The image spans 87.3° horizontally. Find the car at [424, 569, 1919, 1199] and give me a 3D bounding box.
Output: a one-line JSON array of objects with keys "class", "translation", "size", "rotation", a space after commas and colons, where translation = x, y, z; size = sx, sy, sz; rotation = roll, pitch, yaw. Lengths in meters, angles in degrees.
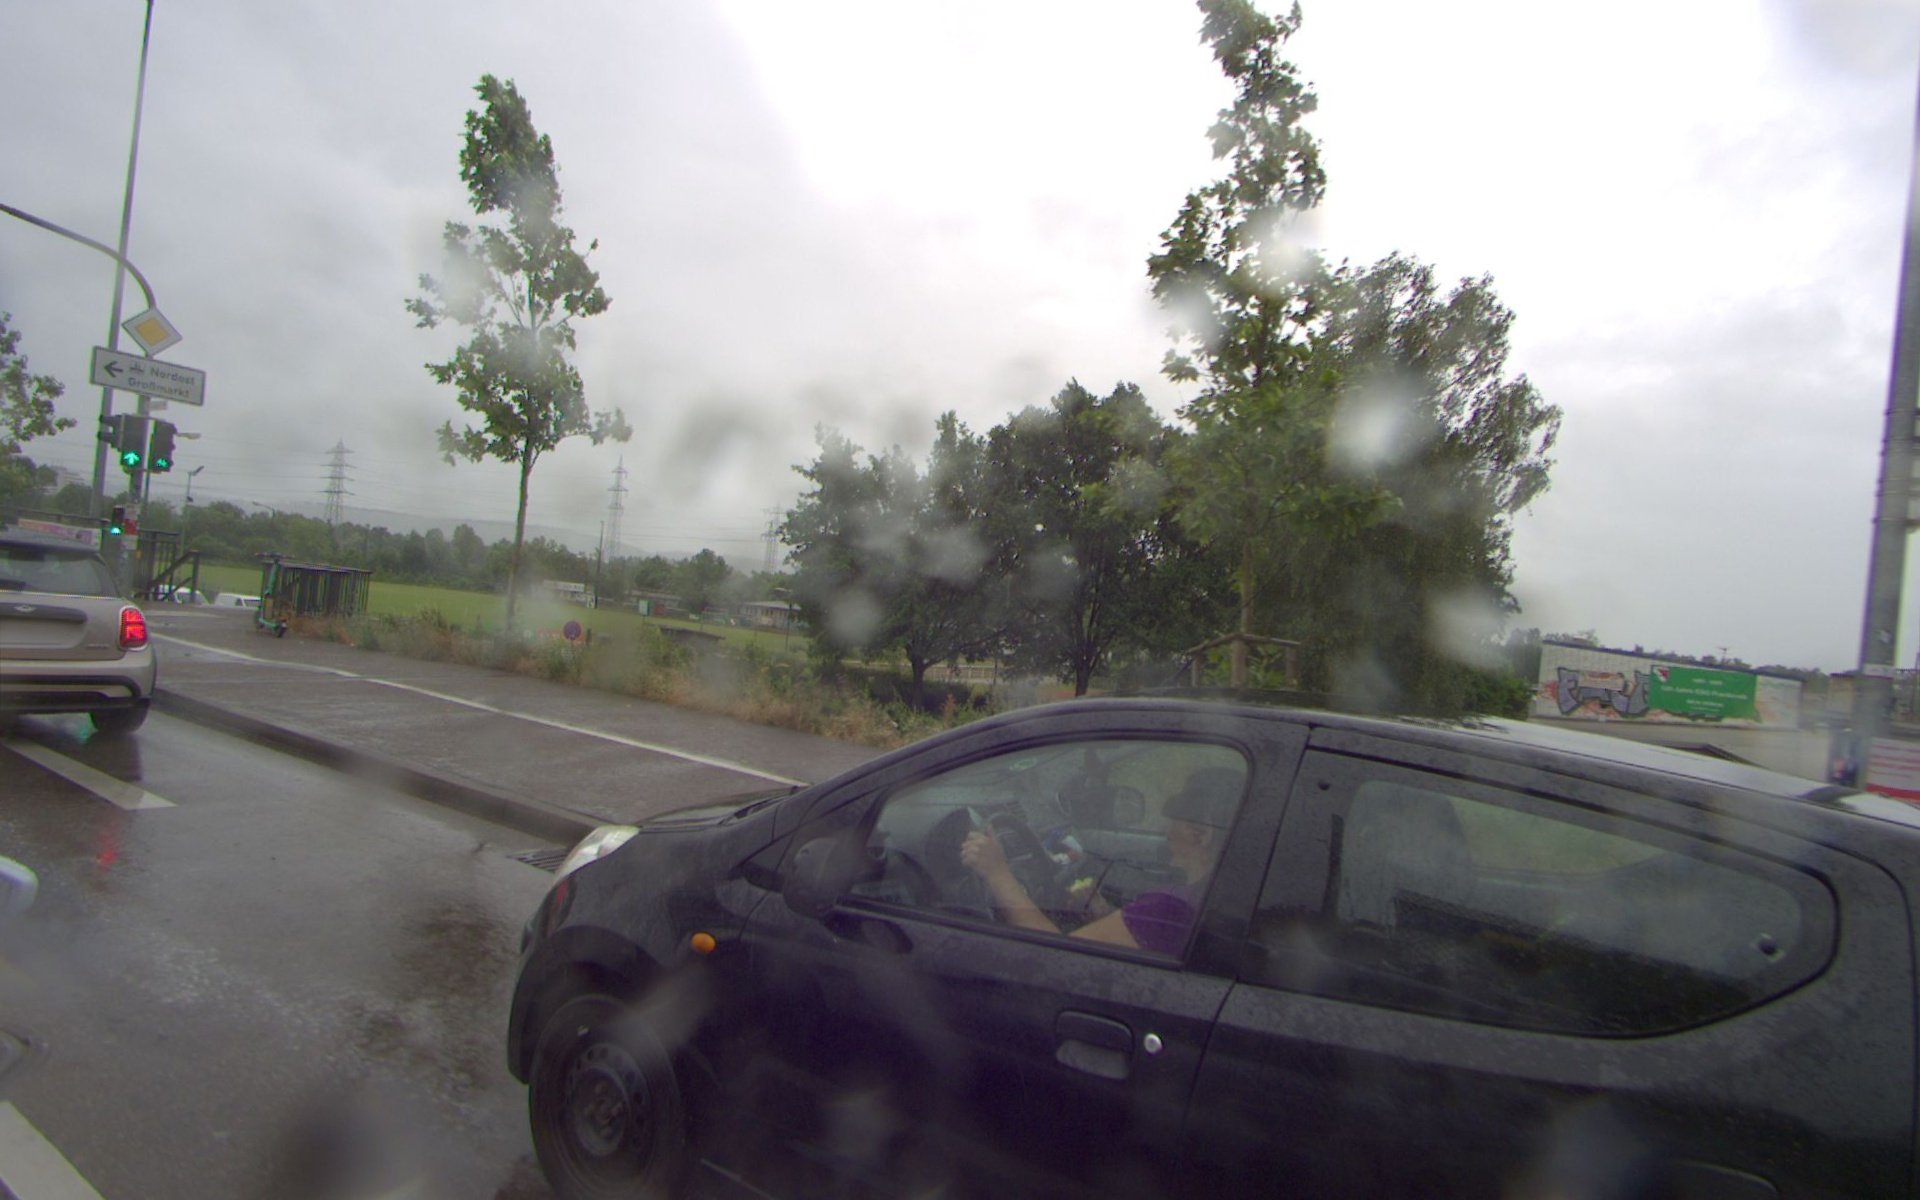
[{"class": "car", "translation": [0.649, 0.879, 2.325], "size": [3.564, 1.445, 1.632], "rotation": [6, -2, 31]}]

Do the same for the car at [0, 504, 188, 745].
[{"class": "car", "translation": [-7.568, 0.027, 7.396], "size": [3.564, 1.525, 1.717], "rotation": [6, -2, 31]}]

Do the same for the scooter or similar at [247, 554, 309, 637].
[{"class": "scooter or similar", "translation": [-10.391, -0.077, 15.323], "size": [1.167, 1.171, 0.246], "rotation": [5, -2, 34]}]
